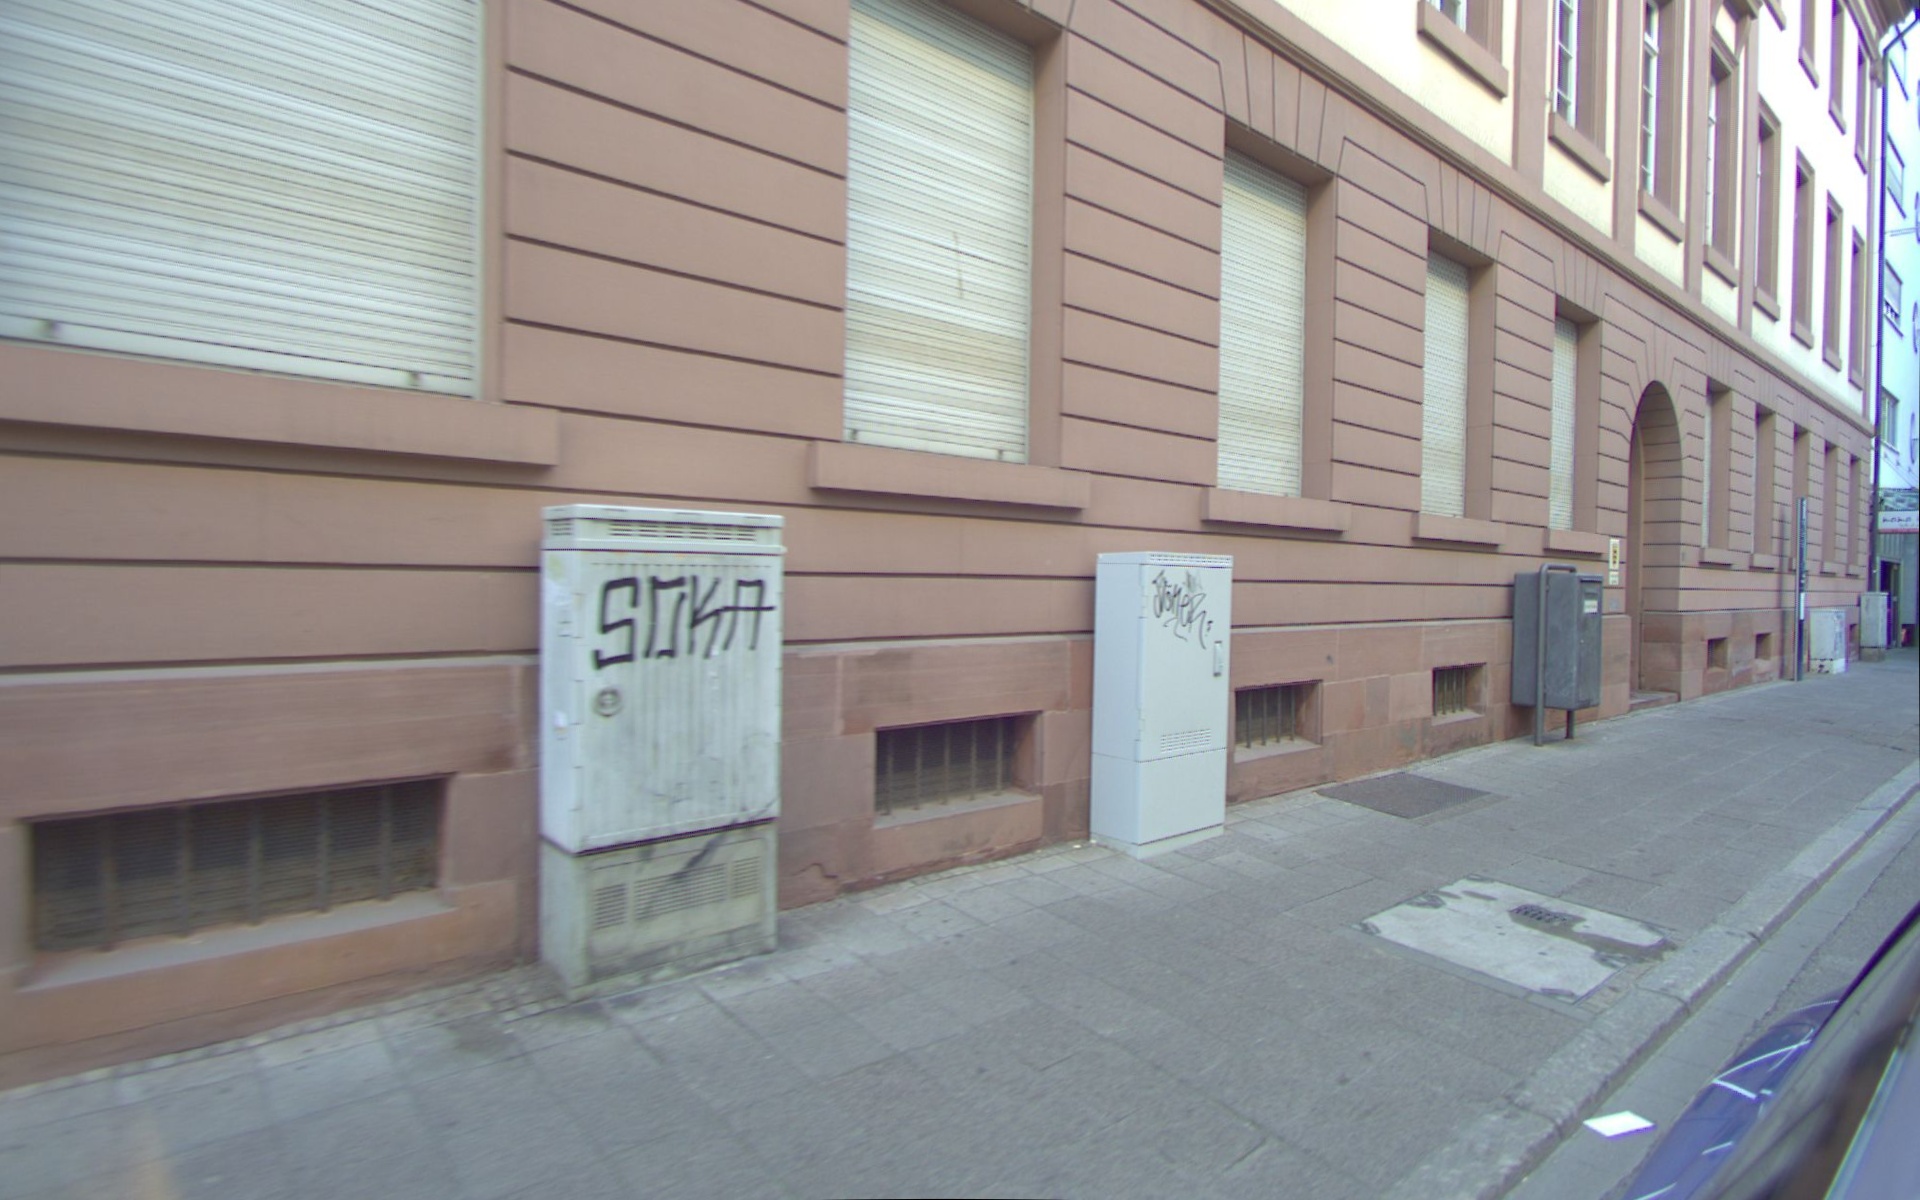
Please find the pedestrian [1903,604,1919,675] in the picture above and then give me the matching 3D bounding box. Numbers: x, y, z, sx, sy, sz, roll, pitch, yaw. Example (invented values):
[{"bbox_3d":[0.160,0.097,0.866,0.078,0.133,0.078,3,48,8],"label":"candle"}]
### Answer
[{"bbox_3d":[24.625,1.020,25.934,0.639,1.794,0.592,2,1,45],"label":"pedestrian"}]
